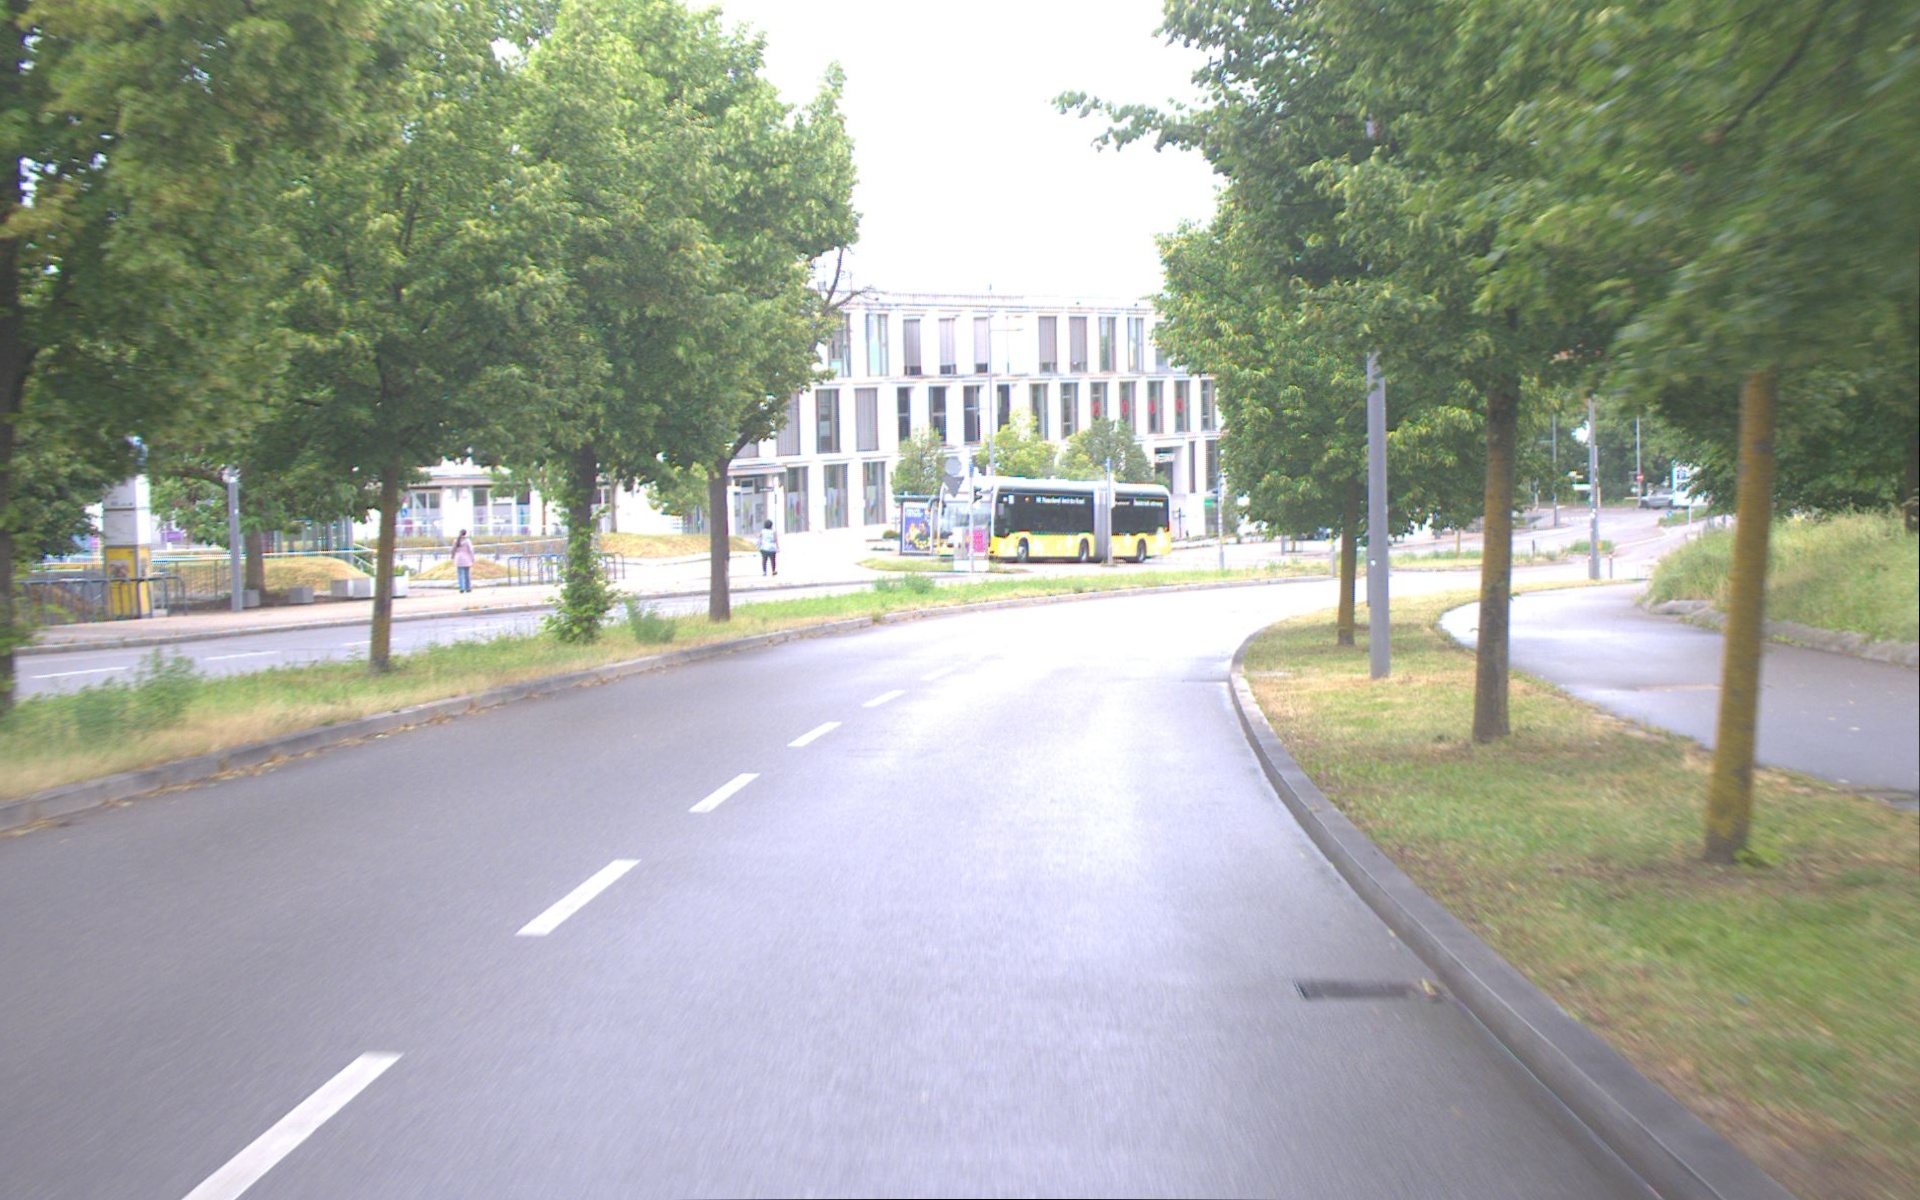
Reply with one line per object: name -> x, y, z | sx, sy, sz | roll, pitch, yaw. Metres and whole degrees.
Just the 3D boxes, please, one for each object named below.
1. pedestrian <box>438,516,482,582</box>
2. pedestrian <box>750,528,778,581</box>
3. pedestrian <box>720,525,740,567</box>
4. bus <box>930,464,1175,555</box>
pedestrian -> -12.470, -1.269, 85.744 | 0.814, 1.615, 0.935 | 0, 0, 11
pedestrian -> -5.877, -1.356, 103.092 | 0.834, 1.568, 0.719 | 0, 0, -6
pedestrian -> -8.450, -1.985, 126.117 | 0.682, 1.519, 0.719 | 0, 0, 1
bus -> 4.087, -3.617, 141.527 | 2.789, 3.345, 18.200 | 0, 0, 26
